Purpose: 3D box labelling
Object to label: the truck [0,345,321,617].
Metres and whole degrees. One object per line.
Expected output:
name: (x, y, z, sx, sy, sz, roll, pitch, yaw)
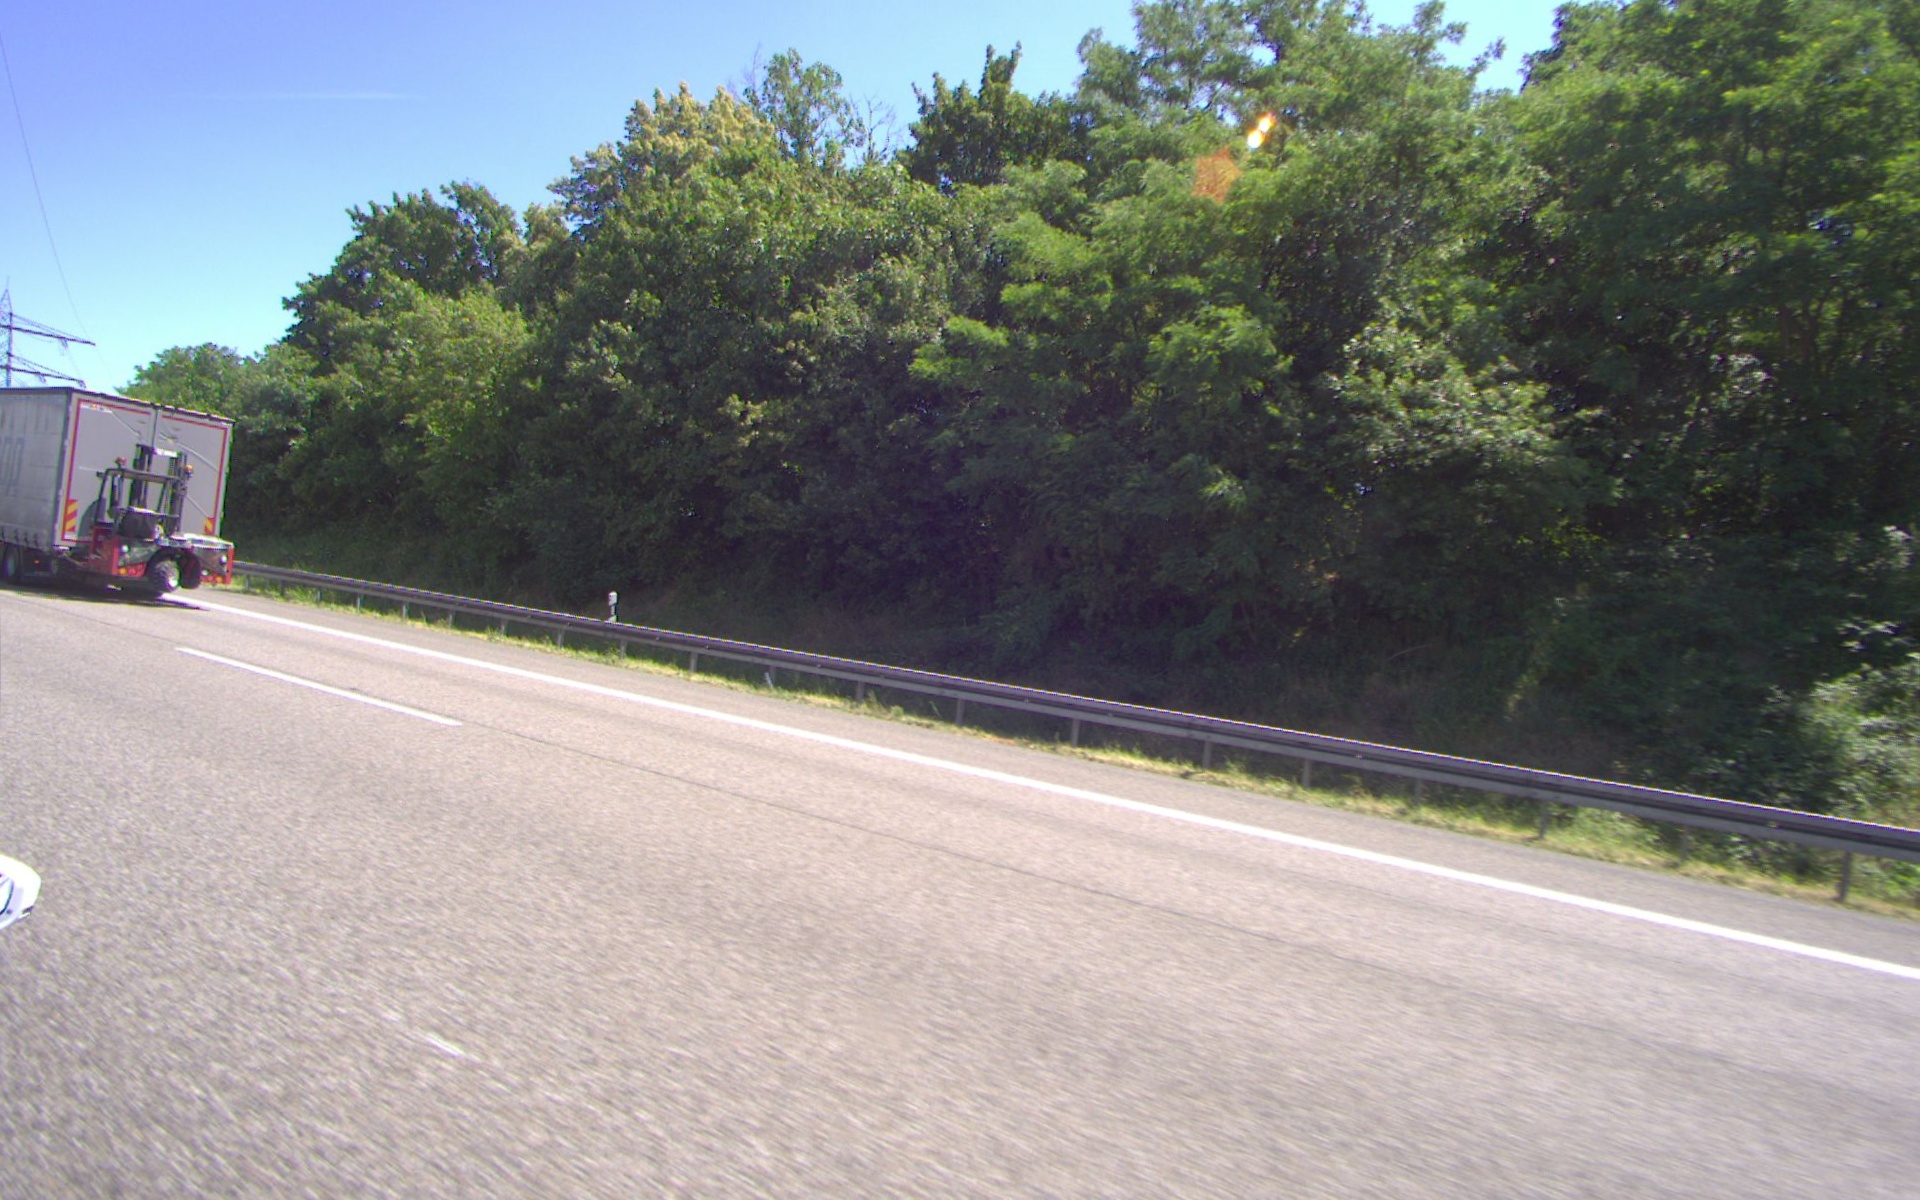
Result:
truck: (-18.756, -2.499, 21.445, 11.458, 4.293, 3.579, 6, -2, 31)
